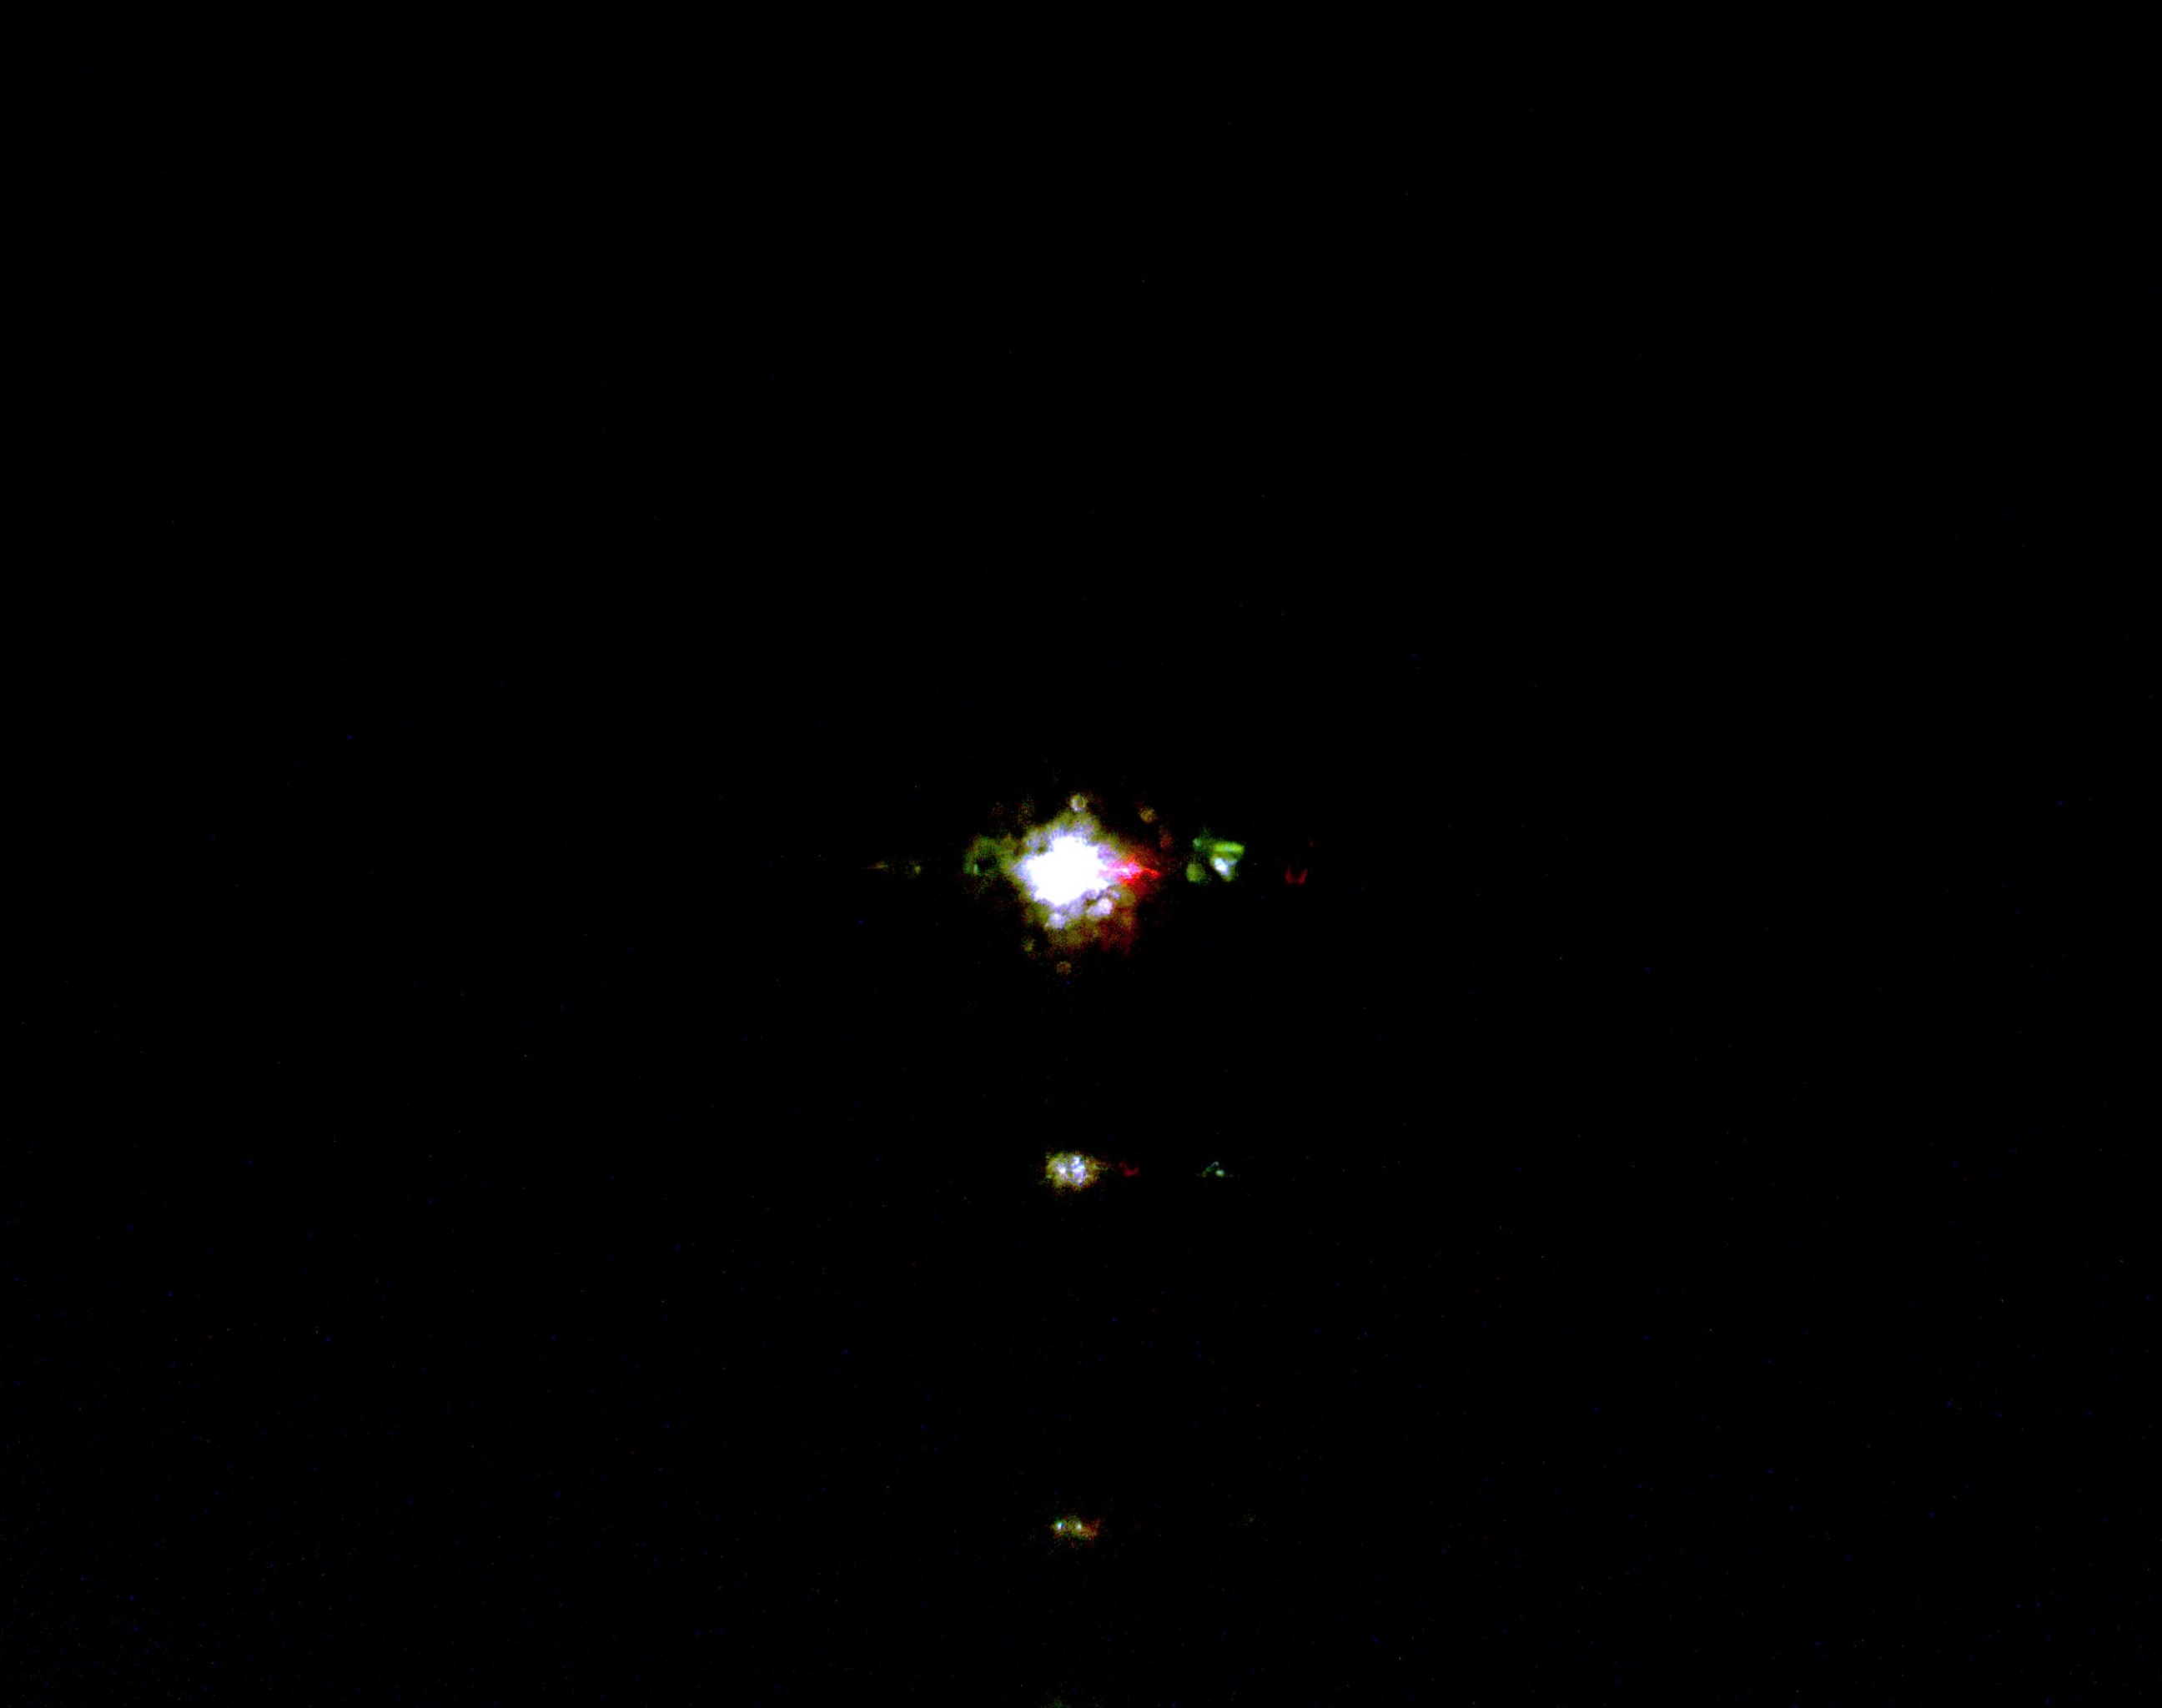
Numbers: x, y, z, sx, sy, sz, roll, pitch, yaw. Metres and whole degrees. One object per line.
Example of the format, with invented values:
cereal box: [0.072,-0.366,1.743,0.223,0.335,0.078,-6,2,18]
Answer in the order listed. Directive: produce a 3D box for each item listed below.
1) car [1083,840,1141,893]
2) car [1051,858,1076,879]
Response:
car: [1.029,0.395,27.255,1.802,1.622,4.002,0,0,2]
car: [-1.414,1.158,65.197,1.895,1.644,3.788,0,0,-2]
